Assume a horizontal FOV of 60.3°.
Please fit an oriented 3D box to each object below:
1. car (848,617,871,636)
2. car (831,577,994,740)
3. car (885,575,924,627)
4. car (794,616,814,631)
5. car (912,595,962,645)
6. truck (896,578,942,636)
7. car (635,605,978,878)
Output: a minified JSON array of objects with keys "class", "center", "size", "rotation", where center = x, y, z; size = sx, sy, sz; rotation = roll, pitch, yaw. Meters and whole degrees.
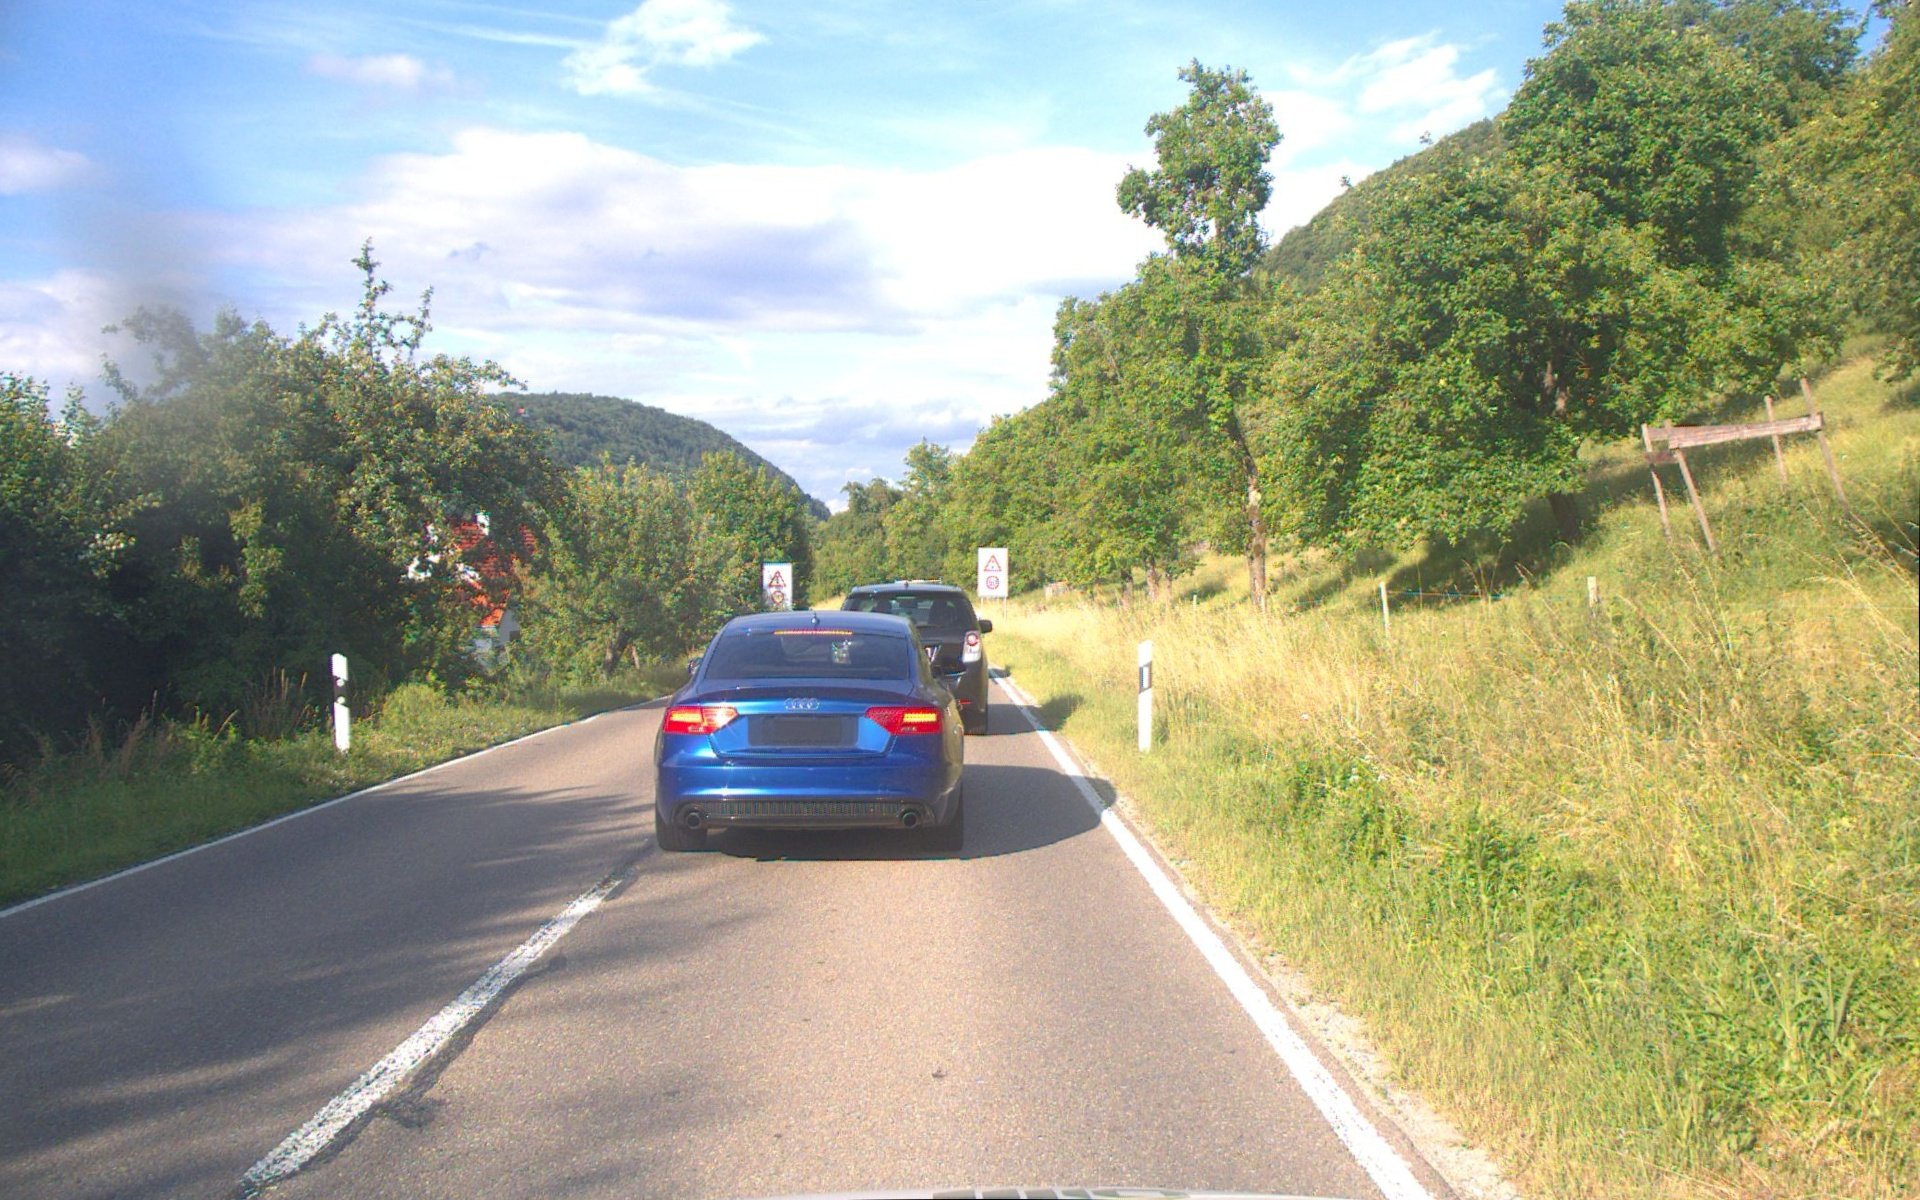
[{"class":"car","center":[-8.309,2.171,136.573],"size":[1.530,1.522,3.769],"rotation":[1,0,-10]},{"class":"car","center":[-0.526,0.591,18.690],"size":[1.658,1.652,3.788],"rotation":[0,0,-1]},{"class":"car","center":[-2.777,0.058,81.998],"size":[1.757,2.496,3.916],"rotation":[1,0,-4]},{"class":"car","center":[-16.248,2.439,171.930],"size":[1.532,1.522,3.765],"rotation":[1,0,-13]},{"class":"car","center":[-0.808,0.658,56.400],"size":[1.658,1.652,3.788],"rotation":[0,0,-1]},{"class":"truck","center":[-1.811,0.289,71.976],"size":[1.911,2.386,5.092],"rotation":[1,0,-2]},{"class":"car","center":[-0.826,0.745,10.676],"size":[1.769,1.406,4.214],"rotation":[0,0,-1]}]
